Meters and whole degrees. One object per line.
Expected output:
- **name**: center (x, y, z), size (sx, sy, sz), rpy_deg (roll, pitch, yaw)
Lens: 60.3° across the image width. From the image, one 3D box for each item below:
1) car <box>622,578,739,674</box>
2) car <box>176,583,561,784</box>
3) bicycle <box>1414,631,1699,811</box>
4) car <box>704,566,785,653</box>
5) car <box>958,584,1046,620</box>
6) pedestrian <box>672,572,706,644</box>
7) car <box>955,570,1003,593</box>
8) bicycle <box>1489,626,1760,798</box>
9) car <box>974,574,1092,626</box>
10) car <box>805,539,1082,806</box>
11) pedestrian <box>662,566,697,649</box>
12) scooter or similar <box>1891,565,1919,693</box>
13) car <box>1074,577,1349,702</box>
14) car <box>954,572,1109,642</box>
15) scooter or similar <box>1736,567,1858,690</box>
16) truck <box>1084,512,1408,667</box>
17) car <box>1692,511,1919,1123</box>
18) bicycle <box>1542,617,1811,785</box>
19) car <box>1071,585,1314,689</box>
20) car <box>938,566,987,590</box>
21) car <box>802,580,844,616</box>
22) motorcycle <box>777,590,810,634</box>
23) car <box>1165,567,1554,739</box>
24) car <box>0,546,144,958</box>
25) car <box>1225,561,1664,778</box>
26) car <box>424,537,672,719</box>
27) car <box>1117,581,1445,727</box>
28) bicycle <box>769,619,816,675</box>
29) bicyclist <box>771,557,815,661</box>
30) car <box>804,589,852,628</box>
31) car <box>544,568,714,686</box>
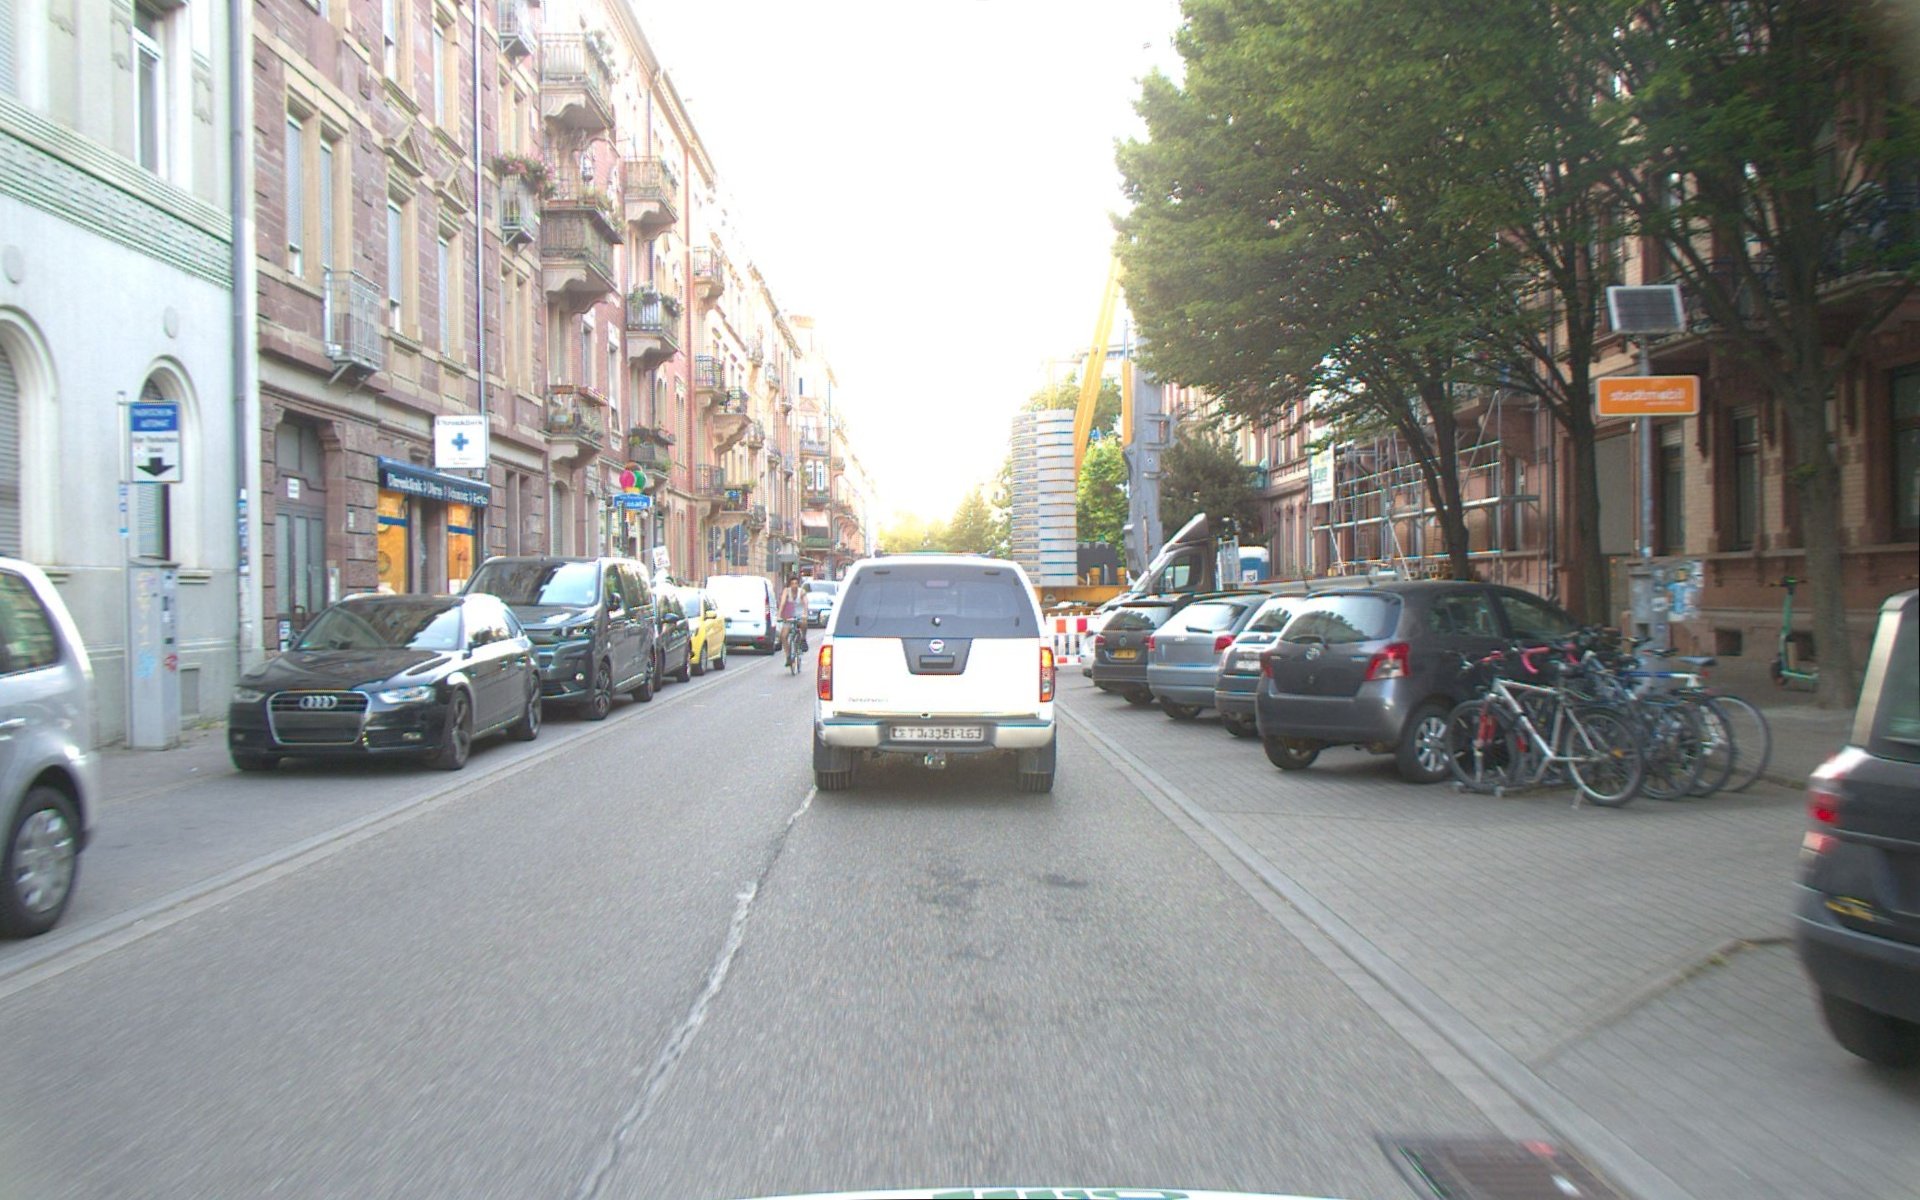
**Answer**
- **car**: center (-5.060, 0.430, 30.392), size (1.468, 1.621, 3.856), rpy_deg (-1, 0, 0)
- **car**: center (-4.966, 0.613, 14.631), size (1.873, 1.497, 4.532), rpy_deg (0, 0, -2)
- **bicycle**: center (4.068, 0.786, 11.434), size (0.684, 1.127, 1.839), rpy_deg (0, -1, -30)
- **car**: center (-5.166, 0.204, 39.939), size (1.528, 1.955, 3.855), rpy_deg (1, 0, -2)
- **car**: center (2.008, 0.078, 78.368), size (4.108, 1.650, 1.820), rpy_deg (0, 0, 1)
- **pedestrian**: center (-7.243, 0.200, 44.164), size (0.603, 1.902, 0.740), rpy_deg (0, 0, 21)
- **car**: center (1.850, -1.734, 156.056), size (4.493, 2.215, 1.820), rpy_deg (0, 0, 1)
- **bicycle**: center (4.683, 0.755, 11.786), size (0.551, 1.127, 1.839), rpy_deg (0, -1, -30)
- **car**: center (2.563, 0.007, 58.691), size (4.108, 1.811, 1.820), rpy_deg (0, 0, 1)
- **car**: center (-0.118, 0.485, 13.762), size (1.894, 1.826, 4.622), rpy_deg (1, 0, 0)
- **pedestrian**: center (-6.538, 0.169, 38.534), size (0.723, 1.902, 0.618), rpy_deg (0, 0, -3)
- **scooter or similar**: center (9.772, 0.275, 16.714), size (0.361, 1.239, 1.620), rpy_deg (-4, 0, 22)
- **car**: center (3.468, 0.474, 22.468), size (3.859, 1.557, 1.613), rpy_deg (0, 0, -41)
- **car**: center (1.953, 0.175, 44.596), size (4.107, 1.811, 1.820), rpy_deg (0, 0, 4)
- **scooter or similar**: center (9.313, 0.301, 18.449), size (0.501, 1.263, 1.350), rpy_deg (-7, 1, -3)
- **truck**: center (5.686, -0.166, 33.550), size (6.191, 3.029, 2.264), rpy_deg (0, -2, 0)
- **car**: center (4.454, 0.526, 5.109), size (3.930, 1.665, 1.747), rpy_deg (-2, 1, -21)
- **bicycle**: center (5.202, 0.704, 12.136), size (0.551, 1.127, 1.839), rpy_deg (0, -1, -30)
- **car**: center (3.580, 0.521, 25.327), size (3.515, 1.490, 1.594), rpy_deg (0, 0, -33)
- **car**: center (0.261, -1.991, 152.240), size (4.493, 2.215, 1.820), rpy_deg (0, 0, 1)
- **car**: center (-6.186, -0.109, 74.895), size (1.675, 1.557, 3.999), rpy_deg (0, 0, -2)
- **motorcycle**: center (-5.514, 0.376, 54.843), size (0.819, 1.440, 2.548), rpy_deg (0, 0, 0)
- **car**: center (4.245, 0.502, 17.551), size (3.780, 1.557, 1.747), rpy_deg (-2, 0, -27)
- **car**: center (-4.695, 0.583, 5.450), size (1.953, 1.619, 4.313), rpy_deg (1, 0, -2)
- **car**: center (4.079, 0.481, 13.830), size (3.365, 1.500, 1.755), rpy_deg (-3, 2, -33)
- **car**: center (-4.885, 0.283, 20.345), size (1.866, 1.959, 4.946), rpy_deg (0, 0, -1)
- **car**: center (3.879, 0.571, 19.765), size (3.795, 1.462, 1.740), rpy_deg (-3, 2, -36)
- **bicycle**: center (-3.086, 0.850, 30.632), size (0.784, 0.963, 2.003), rpy_deg (0, 0, -3)
- **bicyclist**: center (-3.089, 0.162, 30.674), size (0.784, 1.882, 0.943), rpy_deg (0, 0, -4)
- **car**: center (-5.490, 0.333, 69.313), size (1.755, 1.557, 3.999), rpy_deg (0, 0, -1)
- **car**: center (-5.152, 0.377, 26.271), size (1.866, 1.692, 4.068), rpy_deg (-1, 0, 0)
